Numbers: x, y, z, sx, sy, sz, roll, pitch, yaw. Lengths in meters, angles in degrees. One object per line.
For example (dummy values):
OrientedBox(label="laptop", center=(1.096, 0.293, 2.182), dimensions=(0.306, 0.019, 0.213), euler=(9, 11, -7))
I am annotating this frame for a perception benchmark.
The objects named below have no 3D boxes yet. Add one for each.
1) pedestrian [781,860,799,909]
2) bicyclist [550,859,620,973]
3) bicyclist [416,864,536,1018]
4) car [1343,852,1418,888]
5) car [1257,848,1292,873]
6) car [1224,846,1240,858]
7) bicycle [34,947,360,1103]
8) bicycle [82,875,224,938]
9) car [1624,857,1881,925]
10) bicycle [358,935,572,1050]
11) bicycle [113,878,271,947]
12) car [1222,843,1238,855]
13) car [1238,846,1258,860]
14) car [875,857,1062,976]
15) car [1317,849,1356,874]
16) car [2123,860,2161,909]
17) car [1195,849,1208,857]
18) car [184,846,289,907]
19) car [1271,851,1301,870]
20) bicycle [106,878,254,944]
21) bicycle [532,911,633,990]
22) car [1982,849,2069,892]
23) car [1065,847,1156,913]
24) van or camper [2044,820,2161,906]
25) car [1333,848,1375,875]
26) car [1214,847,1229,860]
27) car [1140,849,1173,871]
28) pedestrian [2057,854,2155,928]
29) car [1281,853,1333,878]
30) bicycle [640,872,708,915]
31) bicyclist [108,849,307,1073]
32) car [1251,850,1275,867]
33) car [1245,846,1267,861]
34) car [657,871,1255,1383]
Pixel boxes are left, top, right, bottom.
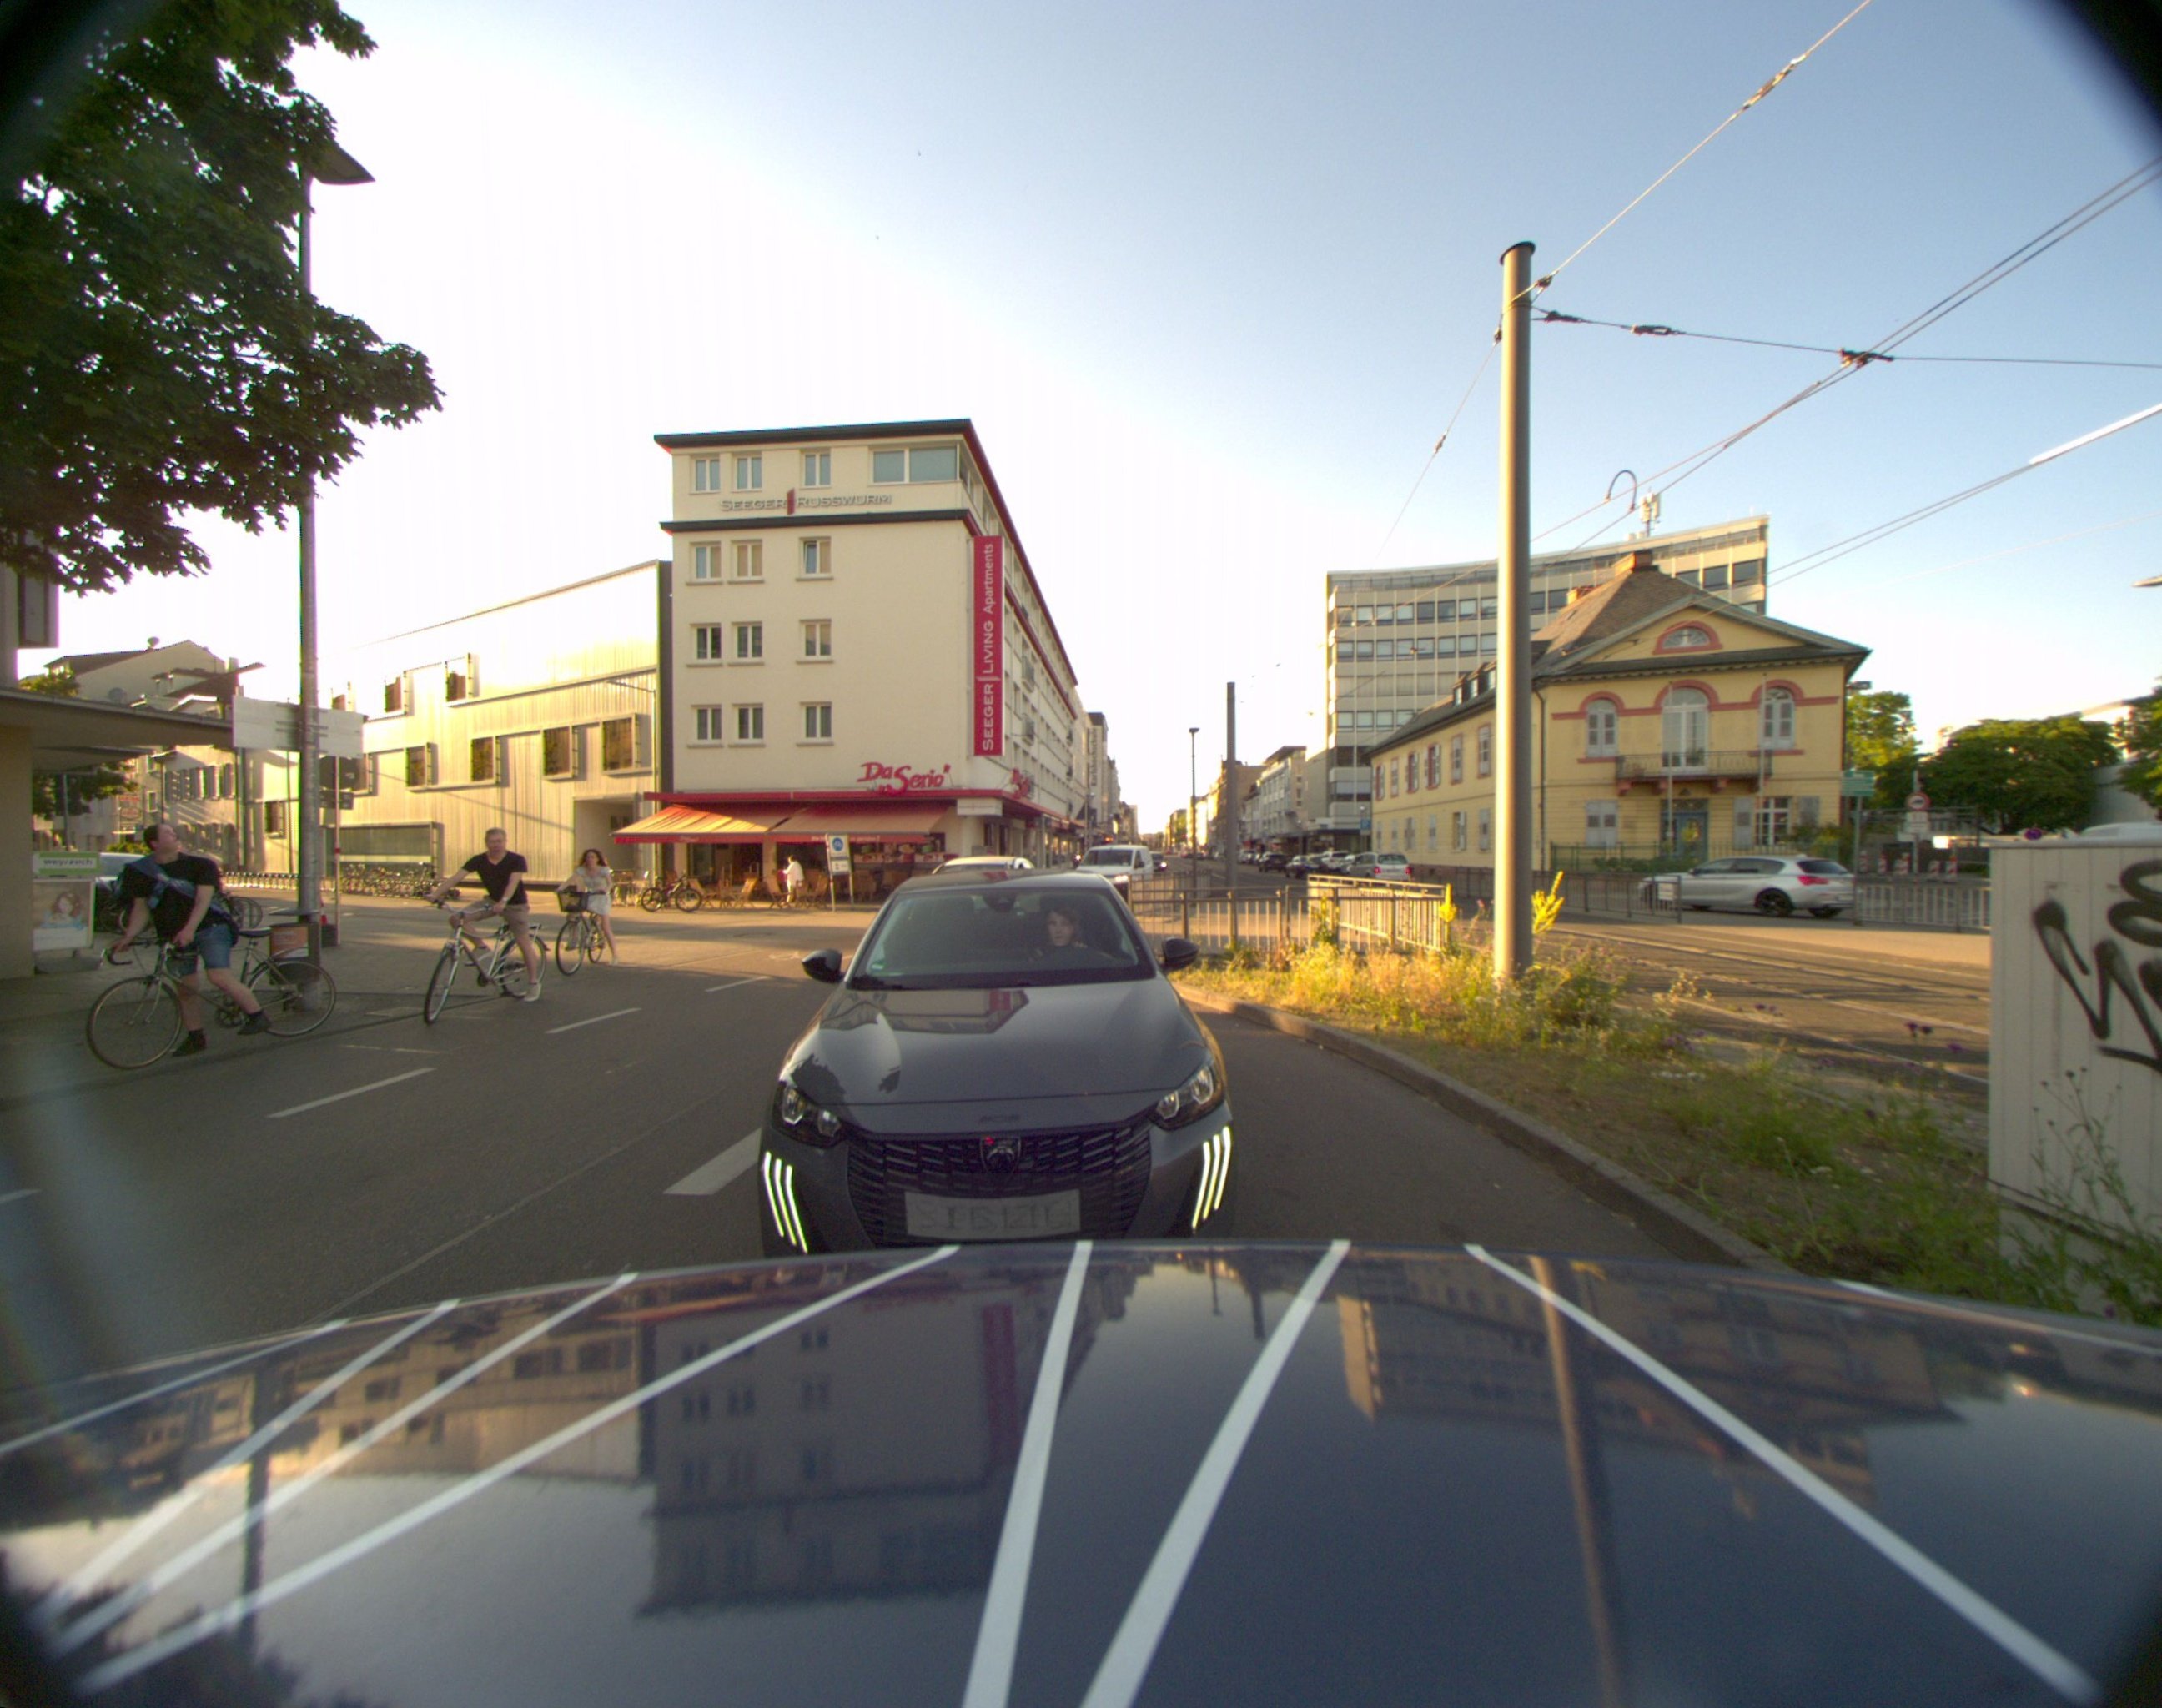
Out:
OrientedBox(label="pedestrian", center=(-8.686, 0.897, 22.685), dimensions=(0.509, 1.441, 0.506), euler=(0, 1, -22))
OrientedBox(label="bicyclist", center=(-6.739, 0.813, 10.358), dimensions=(0.589, 1.478, 0.717), euler=(0, 1, -14))
OrientedBox(label="bicyclist", center=(-6.114, 0.843, 7.712), dimensions=(0.613, 1.478, 0.718), euler=(0, 1, 3))
OrientedBox(label="car", center=(13.885, 0.696, 35.479), dimensions=(1.839, 1.589, 4.071), euler=(0, 0, -1))
OrientedBox(label="car", center=(15.891, 0.504, 62.601), dimensions=(1.998, 1.979, 4.120), euler=(0, 1, 3))
OrientedBox(label="car", center=(24.468, -0.284, 123.427), dimensions=(1.998, 1.936, 4.000), euler=(0, 0, 2))
OrientedBox(label="bicycle", center=(-7.136, 1.329, 6.288), dimensions=(0.675, 0.896, 1.690), euler=(0, 1, 2))
OrientedBox(label="bicycle", center=(-18.417, 1.022, 15.132), dimensions=(0.484, 1.179, 1.690), euler=(0, -2, 22))
OrientedBox(label="car", center=(16.155, 0.794, 18.623), dimensions=(1.917, 1.402, 4.330), euler=(0, 1, -18))
OrientedBox(label="bicycle", center=(-6.118, 1.337, 7.704), dimensions=(0.614, 0.820, 1.806), euler=(0, 0, 4))
OrientedBox(label="bicycle", center=(-16.398, 1.045, 14.075), dimensions=(0.553, 1.179, 1.784), euler=(0, -2, 22))
OrientedBox(label="car", center=(25.383, -0.829, 129.512), dimensions=(1.998, 2.002, 3.999), euler=(-2, 1, 1))
OrientedBox(label="car", center=(22.800, -0.169, 103.894), dimensions=(1.998, 1.936, 4.000), euler=(0, 1, 2))
OrientedBox(label="car", center=(-1.577, 0.838, 12.423), dimensions=(1.814, 1.441, 4.565), euler=(0, 2, 8))
OrientedBox(label="car", center=(18.440, 0.495, 55.076), dimensions=(1.736, 1.698, 3.806), euler=(0, 1, 3))
OrientedBox(label="car", center=(32.998, 0.935, 22.307), dimensions=(1.729, 1.421, 4.483), euler=(1, 1, 39))
OrientedBox(label="car", center=(23.144, -0.185, 146.343), dimensions=(1.848, 1.499, 4.000), euler=(0, 0, 1))
OrientedBox(label="car", center=(-30.082, 0.728, 27.034), dimensions=(3.988, 2.002, 2.004), euler=(0, 1, 35))
OrientedBox(label="car", center=(20.421, 0.603, 75.744), dimensions=(1.998, 1.890, 4.000), euler=(0, 1, 2))
OrientedBox(label="bicycle", center=(-17.306, 1.067, 14.652), dimensions=(0.538, 1.179, 1.721), euler=(0, -2, 22))
OrientedBox(label="bicycle", center=(-6.739, 1.271, 10.367), dimensions=(0.600, 0.820, 1.737), euler=(0, 1, -14))
OrientedBox(label="car", center=(43.081, 0.706, 34.756), dimensions=(1.713, 1.838, 4.031), euler=(2, 1, 40))
OrientedBox(label="car", center=(1.050, 0.705, 23.632), dimensions=(1.997, 1.827, 4.880), euler=(0, 0, 12))
OrientedBox(label="van or camper", center=(36.865, 0.305, 26.963), dimensions=(2.077, 2.758, 6.464), euler=(1, 1, 41))
OrientedBox(label="car", center=(17.918, 0.482, 49.954), dimensions=(1.736, 1.698, 3.440), euler=(0, 1, 4))
OrientedBox(label="car", center=(25.359, -0.072, 137.124), dimensions=(1.998, 2.363, 4.000), euler=(0, 1, 2))
OrientedBox(label="car", center=(5.694, 0.420, 56.743), dimensions=(1.996, 1.565, 4.306), euler=(0, 1, 12))
OrientedBox(label="pedestrian", center=(21.630, 0.743, 16.064), dimensions=(1.041, 1.494, 1.007), euler=(1, 1, 42))
OrientedBox(label="car", center=(13.833, 0.672, 46.735), dimensions=(2.017, 1.420, 4.656), euler=(0, 0, 2))
OrientedBox(label="bicycle", center=(-11.574, 1.109, 21.608), dimensions=(1.632, 1.160, 0.600), euler=(0, 3, 10))
OrientedBox(label="bicyclist", center=(-7.137, 0.822, 6.257), dimensions=(0.665, 1.717, 0.810), euler=(0, 1, 2))
OrientedBox(label="car", center=(21.681, 0.547, 90.470), dimensions=(1.998, 1.936, 4.000), euler=(0, 0, 2))
OrientedBox(label="car", center=(22.232, -0.094, 96.800), dimensions=(1.998, 1.936, 4.000), euler=(0, 1, 2))
OrientedBox(label="car", center=(-0.497, 0.927, 4.814), dimensions=(1.916, 1.495, 4.700), euler=(0, 0, -3))
